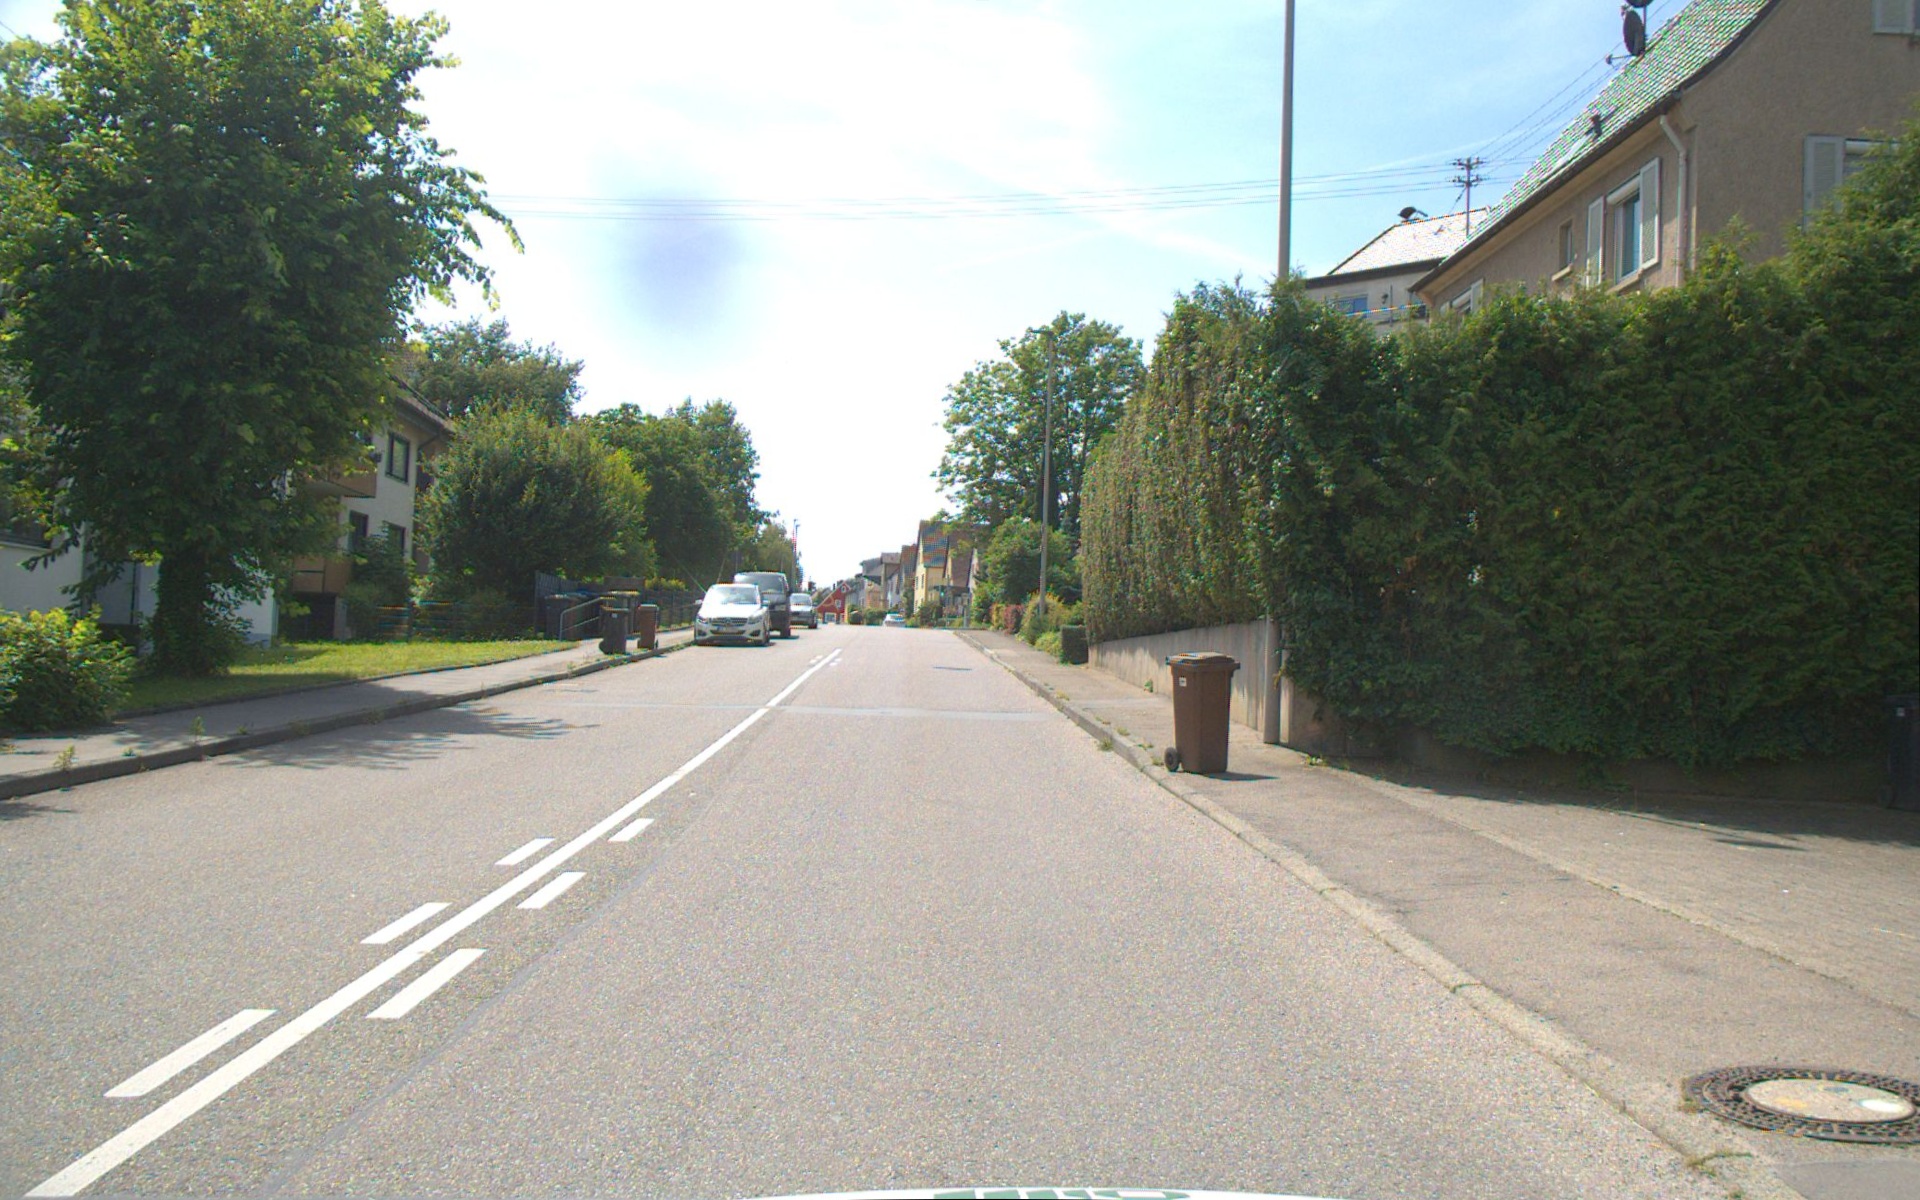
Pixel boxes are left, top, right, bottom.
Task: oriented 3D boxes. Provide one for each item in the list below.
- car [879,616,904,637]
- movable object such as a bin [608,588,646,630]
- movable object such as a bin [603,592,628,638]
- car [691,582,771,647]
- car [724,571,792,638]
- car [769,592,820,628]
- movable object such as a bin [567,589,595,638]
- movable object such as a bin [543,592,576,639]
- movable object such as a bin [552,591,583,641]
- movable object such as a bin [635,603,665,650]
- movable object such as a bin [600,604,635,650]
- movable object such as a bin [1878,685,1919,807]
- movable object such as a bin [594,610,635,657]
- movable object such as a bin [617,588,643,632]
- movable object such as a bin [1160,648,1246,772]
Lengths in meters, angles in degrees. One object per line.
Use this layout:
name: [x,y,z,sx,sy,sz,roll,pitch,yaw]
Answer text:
car: [-5.567,2.143,133.431,1.954,1.631,3.997,1,0,-3]
movable object such as a bin: [-8.903,0.239,44.222,0.881,1.088,0.695,1,0,-2]
movable object such as a bin: [-8.628,0.376,41.428,0.506,1.123,0.529,1,0,-3]
car: [-5.988,0.349,43.664,1.775,1.576,4.239,2,0,-4]
car: [-6.183,0.116,51.115,1.859,1.954,4.866,0,0,-4]
car: [-6.756,0.412,67.896,1.744,1.419,4.407,1,-1,-2]
movable object such as a bin: [-9.549,0.340,41.681,0.466,1.198,0.840,1,0,3]
movable object such as a bin: [-9.705,0.373,40.104,0.590,1.115,0.650,1,0,4]
movable object such as a bin: [-9.685,0.395,40.835,0.535,1.198,0.674,1,0,3]
movable object such as a bin: [-6.752,0.578,35.994,0.495,1.005,0.563,1,0,4]
movable object such as a bin: [-7.139,0.556,34.474,0.551,0.933,0.643,1,0,4]
movable object such as a bin: [8.103,1.232,13.986,0.378,0.989,0.473,2,0,-2]
movable object such as a bin: [-6.953,0.671,33.307,0.606,0.933,0.686,1,0,4]
movable object such as a bin: [-8.550,0.270,42.850,0.486,1.124,0.710,0,-1,4]
movable object such as a bin: [2.048,0.914,13.997,0.576,0.995,0.786,0,0,-2]
